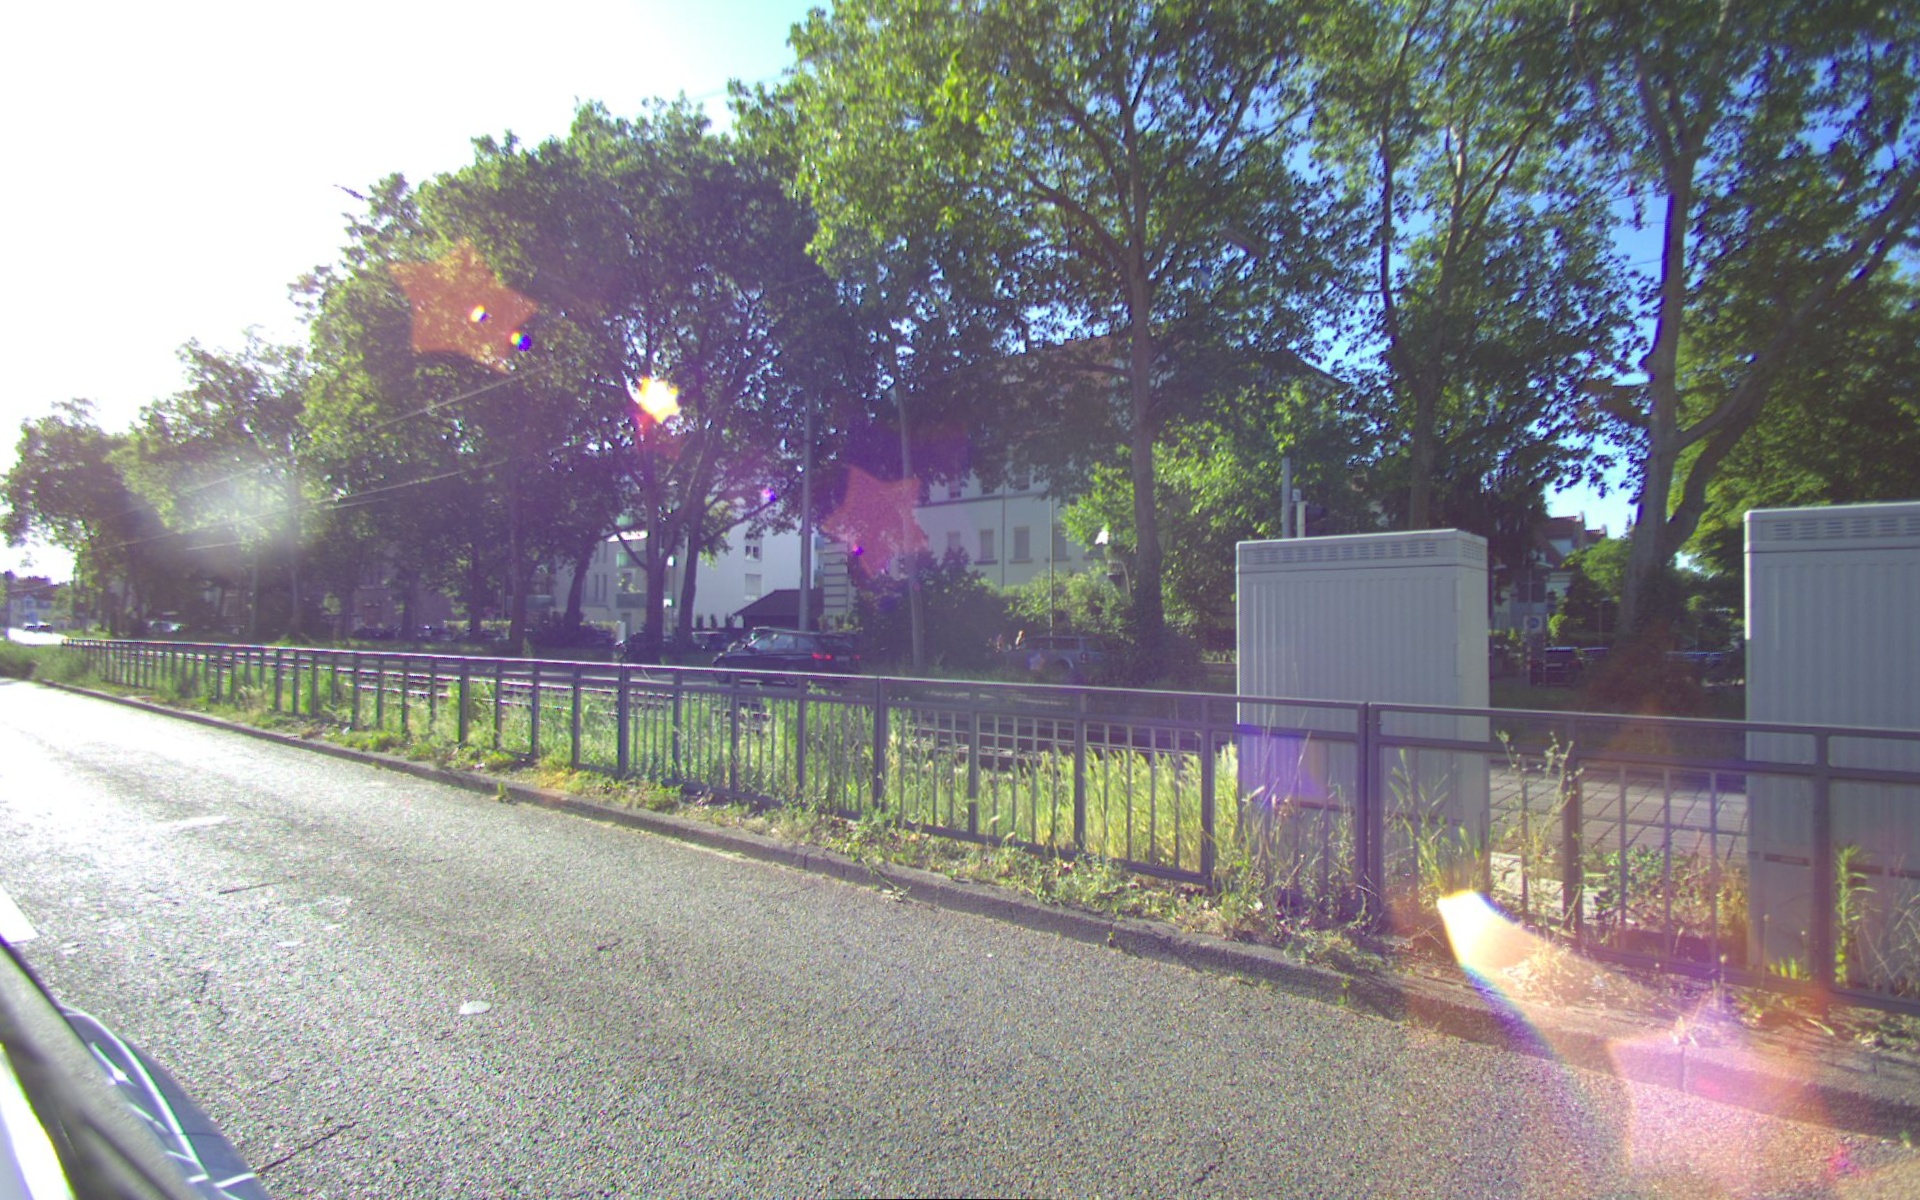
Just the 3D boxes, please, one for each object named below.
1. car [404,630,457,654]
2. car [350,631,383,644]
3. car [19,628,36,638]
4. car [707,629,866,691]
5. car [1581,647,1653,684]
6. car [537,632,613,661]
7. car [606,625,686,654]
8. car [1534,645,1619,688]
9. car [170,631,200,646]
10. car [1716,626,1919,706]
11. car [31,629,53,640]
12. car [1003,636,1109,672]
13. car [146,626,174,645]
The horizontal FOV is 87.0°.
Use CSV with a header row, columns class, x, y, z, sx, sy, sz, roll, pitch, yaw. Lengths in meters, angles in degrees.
class,x,y,z,sx,sy,sz,roll,pitch,yaw
car,-34.718,2.739,66.294,3.998,1.484,1.778,-2,-2,41
car,-42.507,2.689,72.466,3.058,0.883,1.094,-2,-2,41
car,-166.036,5.936,180.149,4.000,1.720,1.971,-2,-3,43
car,-4.620,1.529,26.615,4.337,1.510,1.667,-2,-2,38
car,27.837,2.742,42.848,1.999,1.429,3.945,-2,-2,41
car,-20.491,2.445,53.807,4.317,1.464,1.972,-2,-3,42
car,-15.419,1.923,49.539,4.459,1.334,1.623,-2,-4,42
car,22.493,2.371,36.863,1.999,1.429,3.945,-2,-2,41
car,-79.583,3.898,103.897,3.687,1.497,1.748,-2,-2,42
car,18.194,1.309,20.822,4.141,1.521,1.652,-1,-2,40
car,-138.027,5.127,152.165,4.456,1.660,1.839,-2,-2,40
car,3.153,1.745,33.425,3.213,1.125,1.458,-2,-2,38
car,-87.562,3.837,110.745,1.970,2.029,4.002,1,-2,-45
